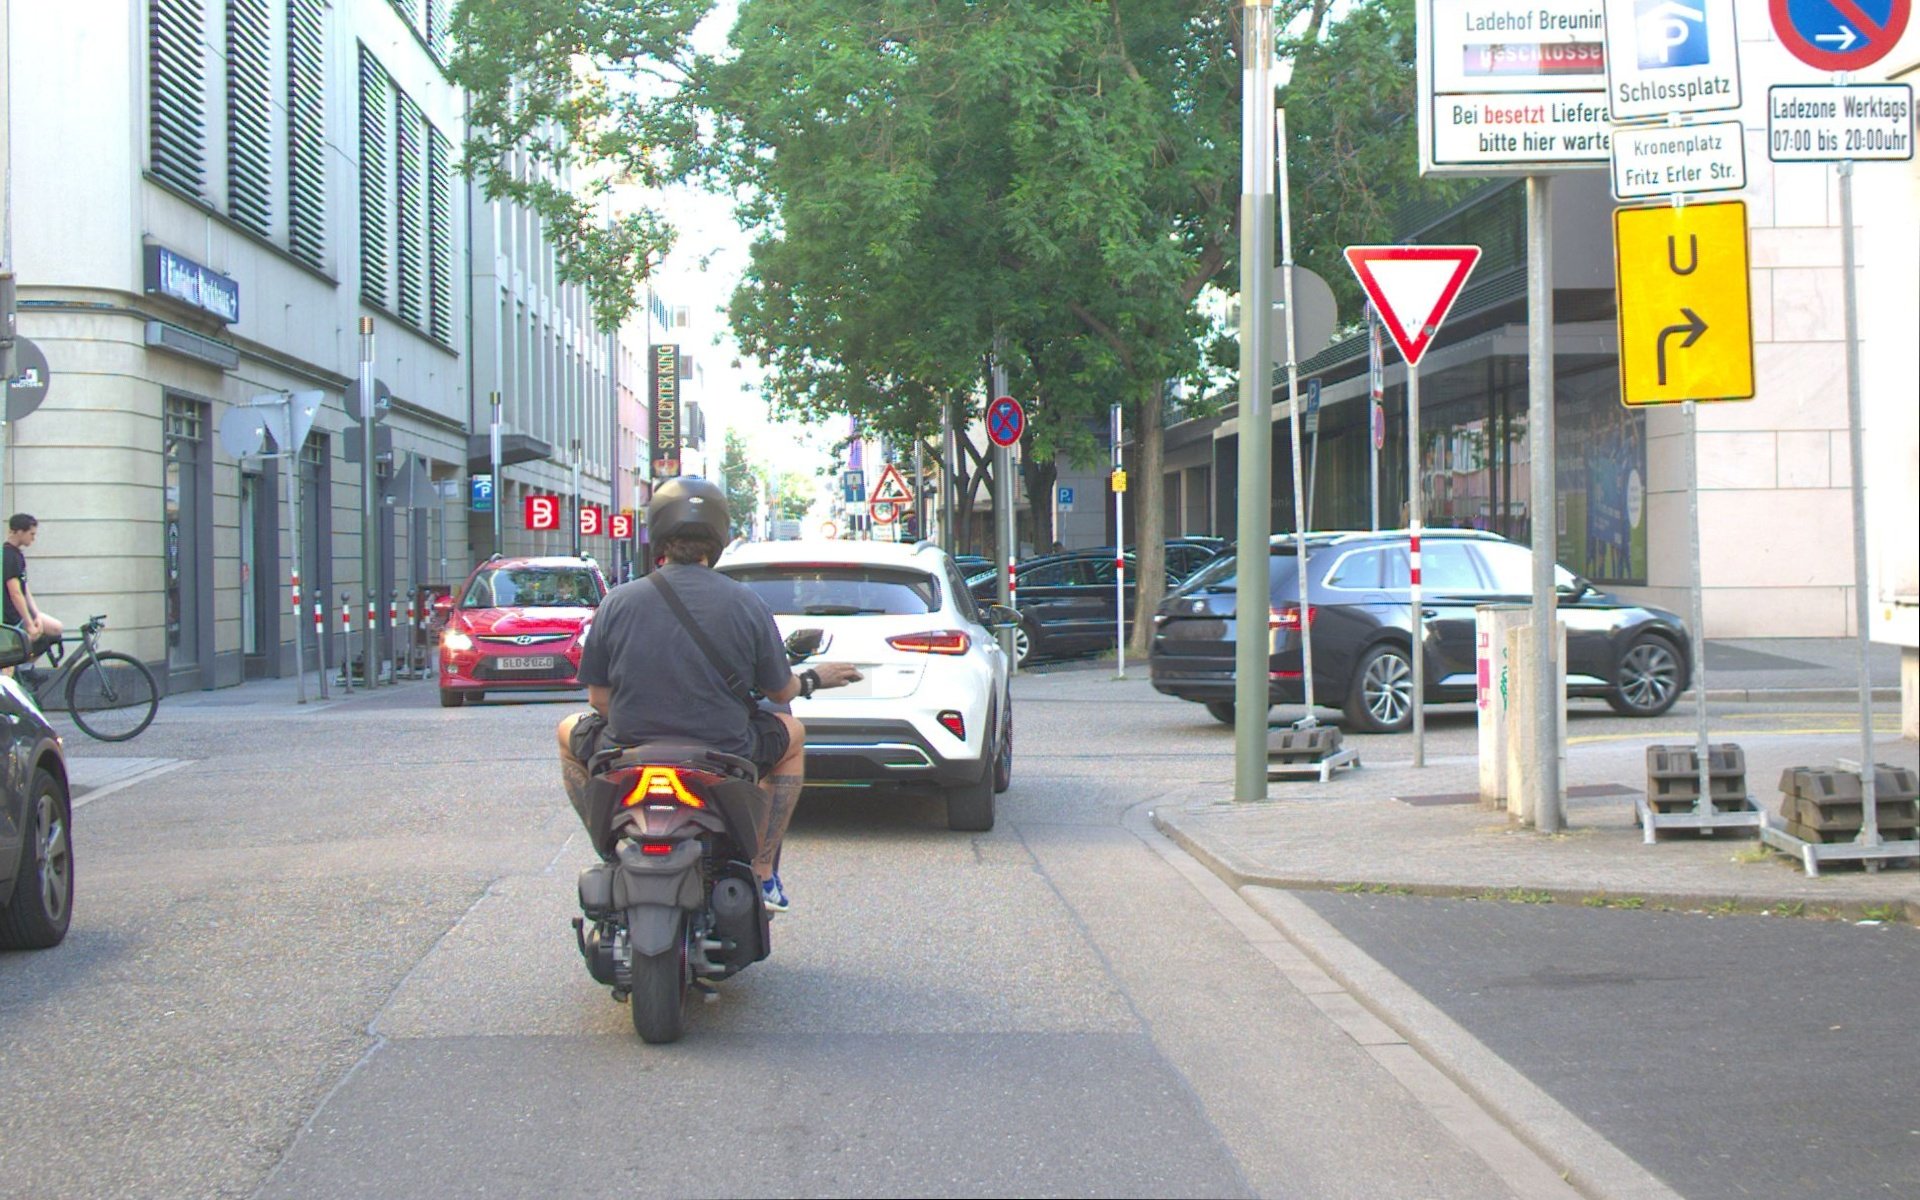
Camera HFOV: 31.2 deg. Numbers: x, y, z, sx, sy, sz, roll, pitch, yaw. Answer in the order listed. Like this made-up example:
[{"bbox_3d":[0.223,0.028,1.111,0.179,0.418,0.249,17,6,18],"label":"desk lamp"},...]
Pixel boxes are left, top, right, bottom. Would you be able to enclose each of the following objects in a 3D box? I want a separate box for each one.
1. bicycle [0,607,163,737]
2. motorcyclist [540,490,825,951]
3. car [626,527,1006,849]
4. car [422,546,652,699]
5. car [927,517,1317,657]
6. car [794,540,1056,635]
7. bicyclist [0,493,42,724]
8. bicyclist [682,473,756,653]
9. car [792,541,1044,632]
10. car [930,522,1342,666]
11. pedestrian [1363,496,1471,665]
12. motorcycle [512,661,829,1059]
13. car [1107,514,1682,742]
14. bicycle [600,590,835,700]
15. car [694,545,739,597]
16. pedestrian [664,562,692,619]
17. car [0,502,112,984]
[{"bbox_3d":[-6.965,0.541,26.007,1.814,0.970,0.511,0,0,-12],"label":"bicycle"},{"bbox_3d":[-0.866,0.373,10.848,0.867,1.422,0.455,0,0,-1],"label":"motorcyclist"},{"bbox_3d":[-0.811,0.382,18.819,1.822,1.536,4.264,-1,1,-3],"label":"car"},{"bbox_3d":[-4.266,0.251,35.229,1.822,1.460,4.263,-1,-1,0],"label":"car"},{"bbox_3d":[2.158,-0.183,46.822,5.004,1.494,2.000,-4,0,-4],"label":"car"},{"bbox_3d":[-0.732,-0.255,68.508,5.004,1.494,2.000,-4,0,-4],"label":"car"},{"bbox_3d":[-7.229,0.063,25.954,0.550,1.726,0.501,0,0,-11],"label":"bicyclist"},{"bbox_3d":[-2.193,-0.334,31.258,0.629,1.620,0.498,0,0,-9],"label":"bicyclist"},{"bbox_3d":[-0.902,-0.276,71.039,5.004,1.494,2.000,-4,0,-4],"label":"car"},{"bbox_3d":[2.221,-0.081,44.337,5.004,1.447,2.000,-4,0,-4],"label":"car"},{"bbox_3d":[4.776,-0.200,35.978,0.905,1.700,0.834,-3,0,-1],"label":"pedestrian"},{"bbox_3d":[-0.865,0.760,10.769,0.872,1.105,1.840,0,0,-1],"label":"motorcycle"},{"bbox_3d":[3.383,0.143,26.332,4.351,1.536,1.828,-2,3,-38],"label":"car"},{"bbox_3d":[-2.211,0.405,31.263,2.101,0.991,0.518,0,0,-8],"label":"bicycle"},{"bbox_3d":[-11.103,-1.330,156.550,1.993,2.321,5.022,1,1,-5],"label":"car"},{"bbox_3d":[-7.770,-0.255,94.769,0.732,1.568,0.636,0,0,-2],"label":"pedestrian"},{"bbox_3d":[-4.266,0.546,11.551,1.822,1.672,4.264,-3,1,-2],"label":"car"}]
